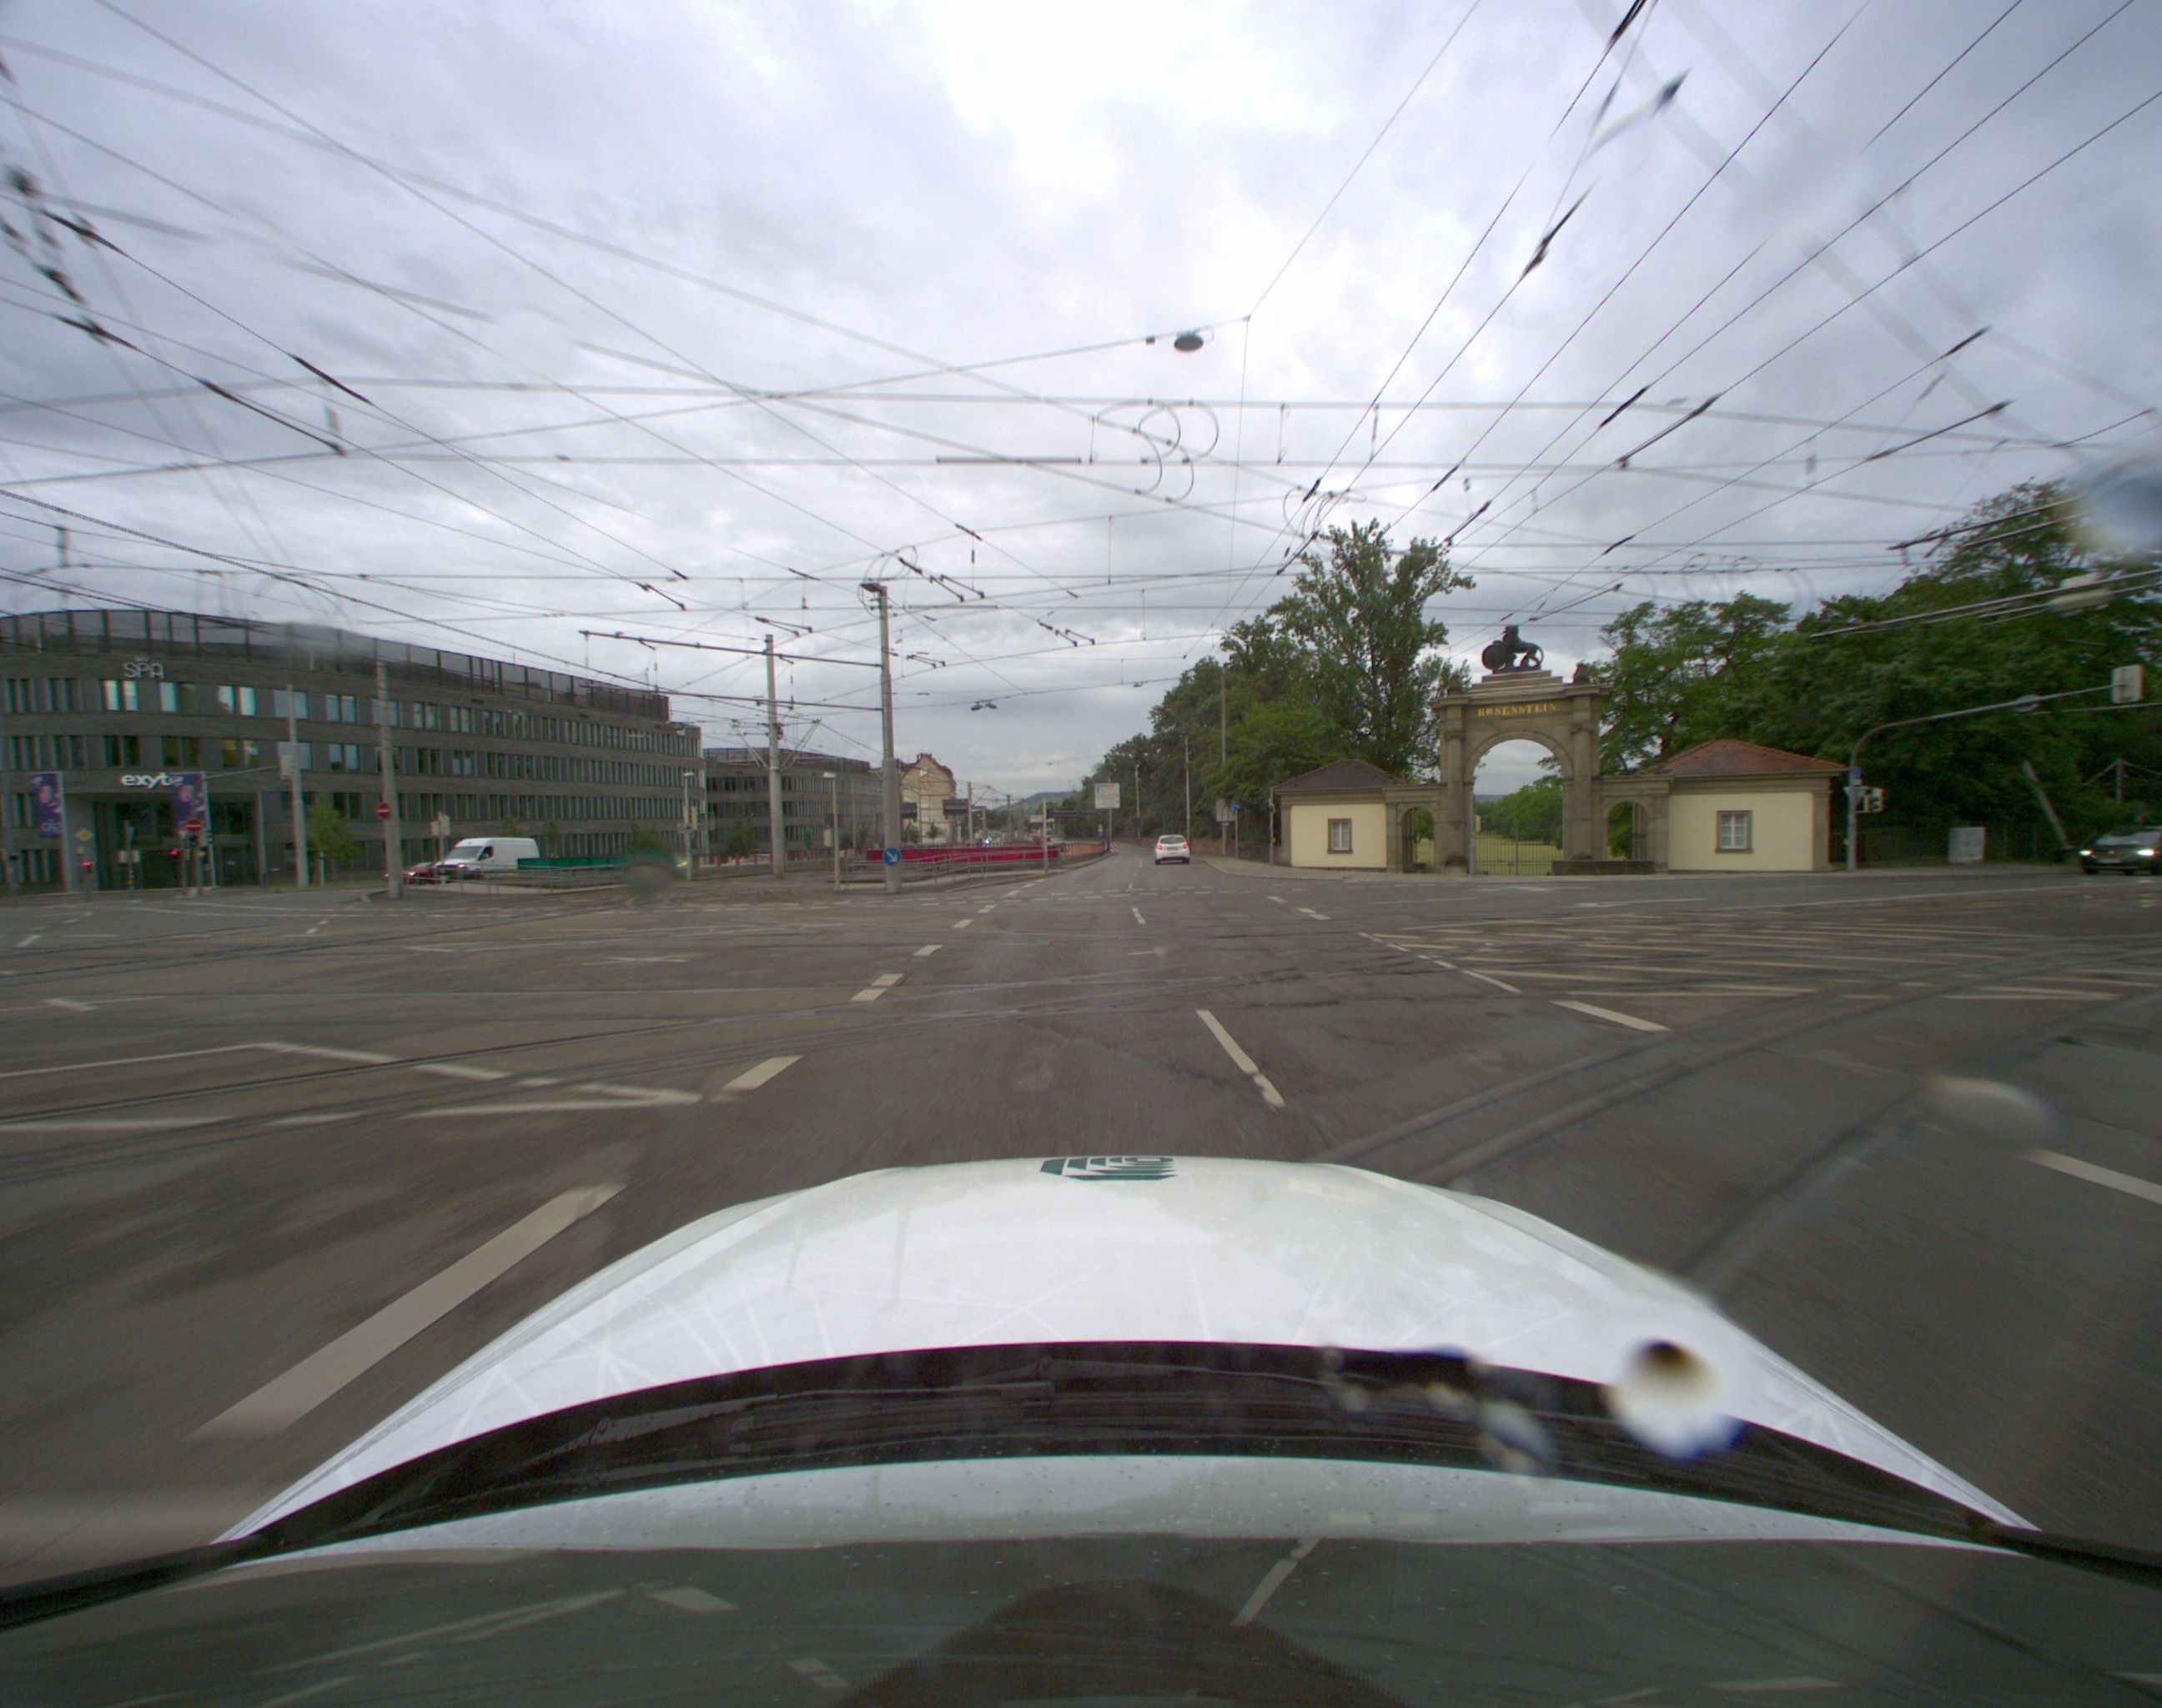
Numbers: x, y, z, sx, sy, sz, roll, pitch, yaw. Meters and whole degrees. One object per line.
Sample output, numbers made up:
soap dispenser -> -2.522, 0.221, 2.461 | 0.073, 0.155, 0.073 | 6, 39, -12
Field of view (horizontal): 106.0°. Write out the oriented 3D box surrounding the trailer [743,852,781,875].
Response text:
trailer -> -31.510, 0.964, 80.550 | 1.818, 2.074, 4.276 | -1, -2, 2

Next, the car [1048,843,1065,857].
car -> -3.509, -0.525, 115.799 | 1.991, 1.872, 3.992 | -3, 0, -5

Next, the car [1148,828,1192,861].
car -> 4.565, -0.443, 42.190 | 1.948, 1.488, 4.001 | -1, -2, 2

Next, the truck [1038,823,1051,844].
truck -> -10.649, -5.919, 237.765 | 3.458, 5.401, 12.032 | -1, -2, -4

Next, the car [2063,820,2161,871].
car -> 38.663, -0.314, 29.788 | 4.259, 1.735, 1.988 | -1, -2, -17

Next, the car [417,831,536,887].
car -> -33.790, 0.257, 45.817 | 1.985, 2.831, 5.723 | -4, 0, 3

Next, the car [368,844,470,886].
car -> -37.222, 0.583, 45.940 | 1.985, 2.152, 4.252 | -2, 1, 3
